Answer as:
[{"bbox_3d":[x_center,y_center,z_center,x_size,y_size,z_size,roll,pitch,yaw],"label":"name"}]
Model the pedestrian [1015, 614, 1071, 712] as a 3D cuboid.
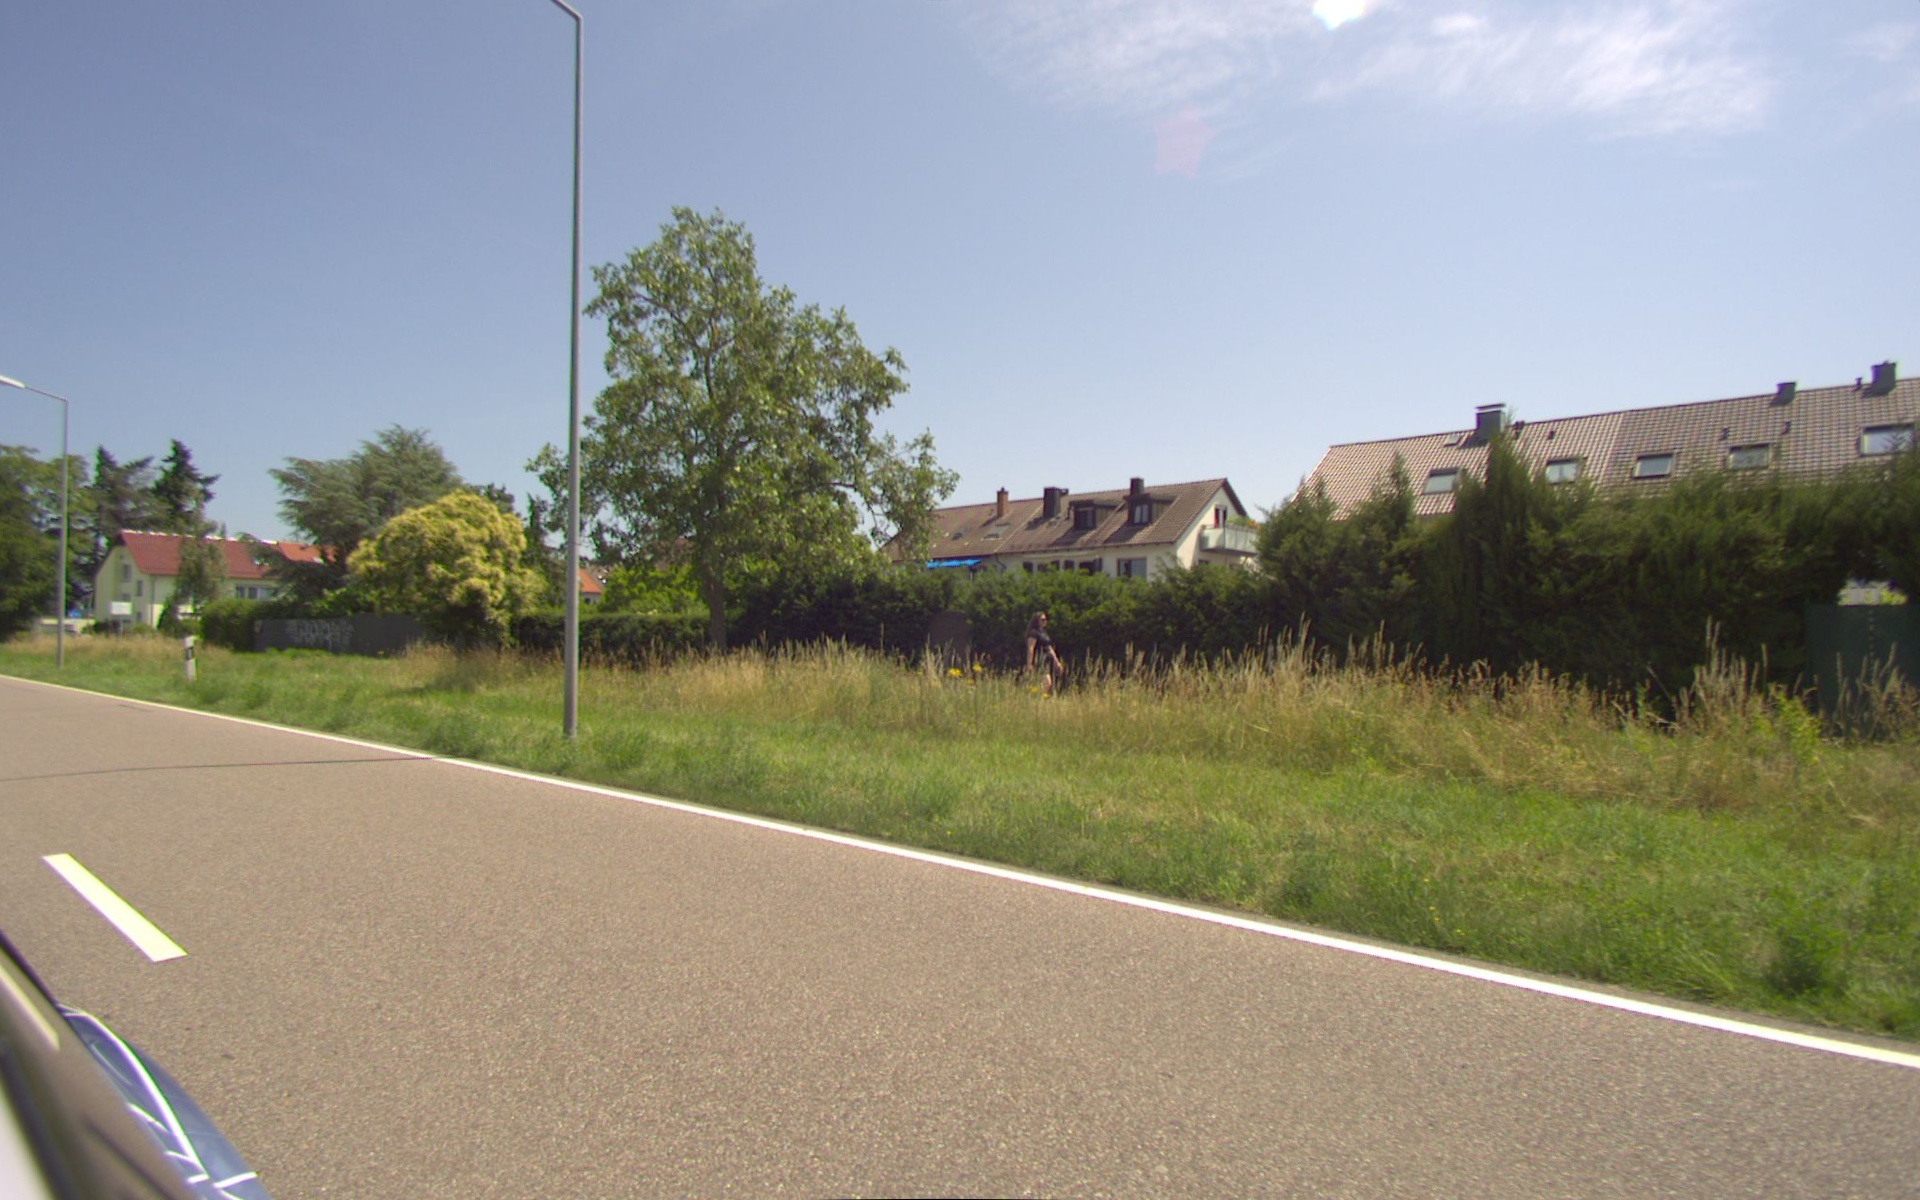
[{"bbox_3d":[1.298,0.969,15.836,0.633,1.489,0.602,-2,-2,41],"label":"pedestrian"}]
